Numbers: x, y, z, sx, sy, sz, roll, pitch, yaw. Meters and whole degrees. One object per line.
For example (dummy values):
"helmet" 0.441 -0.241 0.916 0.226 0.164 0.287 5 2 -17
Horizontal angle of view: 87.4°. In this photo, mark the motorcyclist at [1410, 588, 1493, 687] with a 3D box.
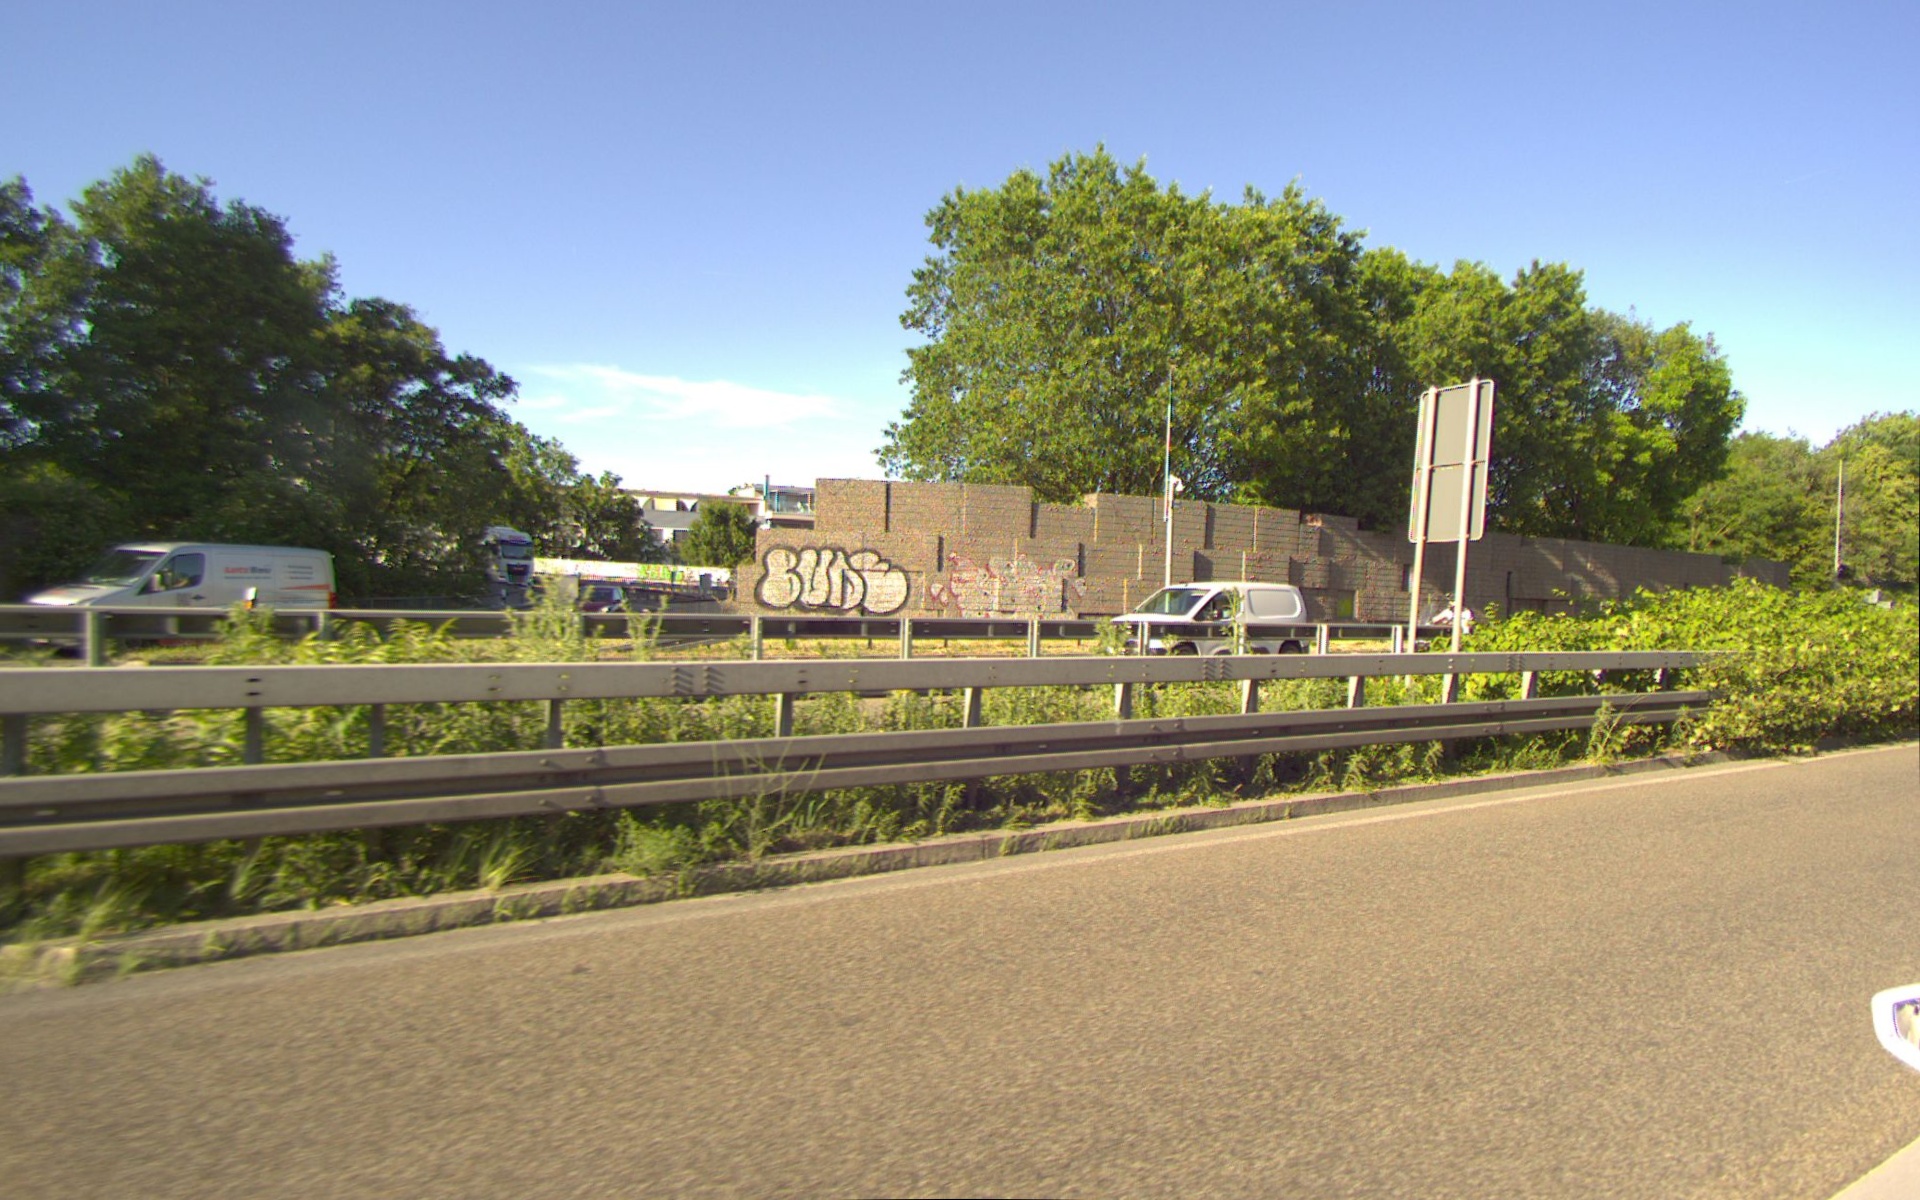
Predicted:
"motorcyclist" 8.626 0.641 17.627 1.034 1.648 0.817 0 3 -31

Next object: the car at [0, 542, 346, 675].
"car" -15.792 0.060 20.626 2.042 2.311 5.373 3 2 19

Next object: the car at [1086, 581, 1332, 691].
"car" 4.800 0.623 19.193 4.566 1.846 1.813 0 3 -30

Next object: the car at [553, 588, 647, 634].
"car" -12.700 0.350 35.725 1.964 1.352 4.095 2 2 -2

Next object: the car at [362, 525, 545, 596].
"car" -31.816 -2.543 62.913 12.479 3.982 2.463 3 3 21
